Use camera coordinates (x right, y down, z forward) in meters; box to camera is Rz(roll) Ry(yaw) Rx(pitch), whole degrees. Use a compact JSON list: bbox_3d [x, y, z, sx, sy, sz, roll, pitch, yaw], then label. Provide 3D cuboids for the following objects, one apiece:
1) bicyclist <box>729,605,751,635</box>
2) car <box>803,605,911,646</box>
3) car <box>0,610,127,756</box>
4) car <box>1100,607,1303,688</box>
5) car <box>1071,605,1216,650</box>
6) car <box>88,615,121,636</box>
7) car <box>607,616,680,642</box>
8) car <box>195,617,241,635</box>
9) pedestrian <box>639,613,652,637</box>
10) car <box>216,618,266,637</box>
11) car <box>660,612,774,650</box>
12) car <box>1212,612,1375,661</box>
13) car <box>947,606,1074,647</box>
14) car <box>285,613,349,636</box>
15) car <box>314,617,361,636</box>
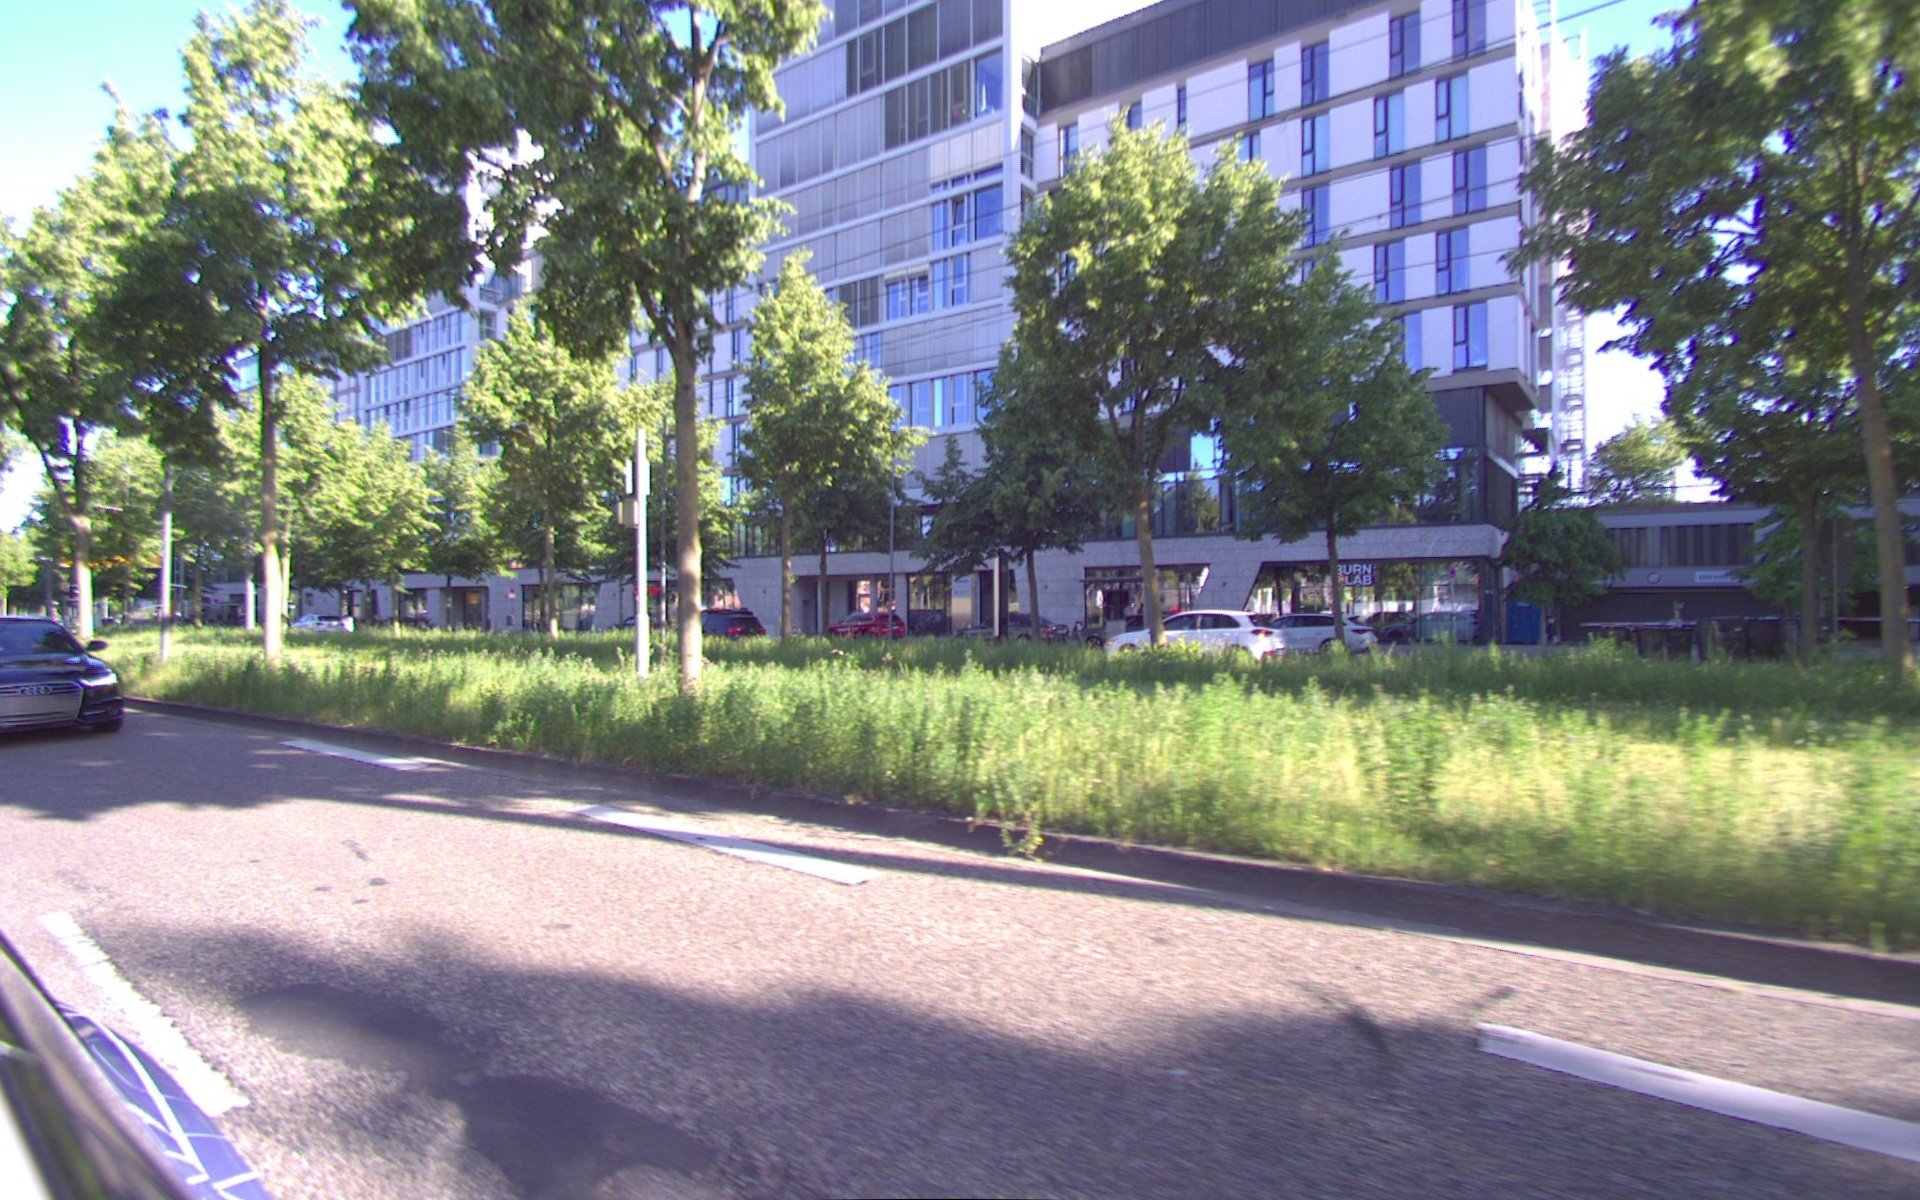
[{"bbox_3d":[-10.915,0.977,50.214,0.831,1.474,0.713,-1,-1,38],"label":"bicyclist"},{"bbox_3d":[-4.890,1.199,47.676,5.116,1.790,1.782,-2,0,35],"label":"car"},{"bbox_3d":[-11.932,0.915,12.361,4.595,1.538,1.767,-1,0,38],"label":"car"},{"bbox_3d":[5.676,1.092,24.014,4.312,1.701,1.782,-2,0,36],"label":"car"},{"bbox_3d":[6.139,0.915,34.136,4.538,1.431,1.699,-1,-1,38],"label":"car"},{"bbox_3d":[-88.387,2.606,104.561,3.994,1.940,1.783,1,1,37],"label":"car"},{"bbox_3d":[-15.912,1.476,50.803,3.575,1.216,1.653,-2,-1,36],"label":"car"},{"bbox_3d":[-62.229,2.154,84.849,4.536,1.431,1.940,-1,-1,37],"label":"car"},{"bbox_3d":[-19.018,1.505,61.209,0.689,1.423,0.404,1,1,36],"label":"pedestrian"},{"bbox_3d":[-58.133,2.199,81.803,4.536,1.431,1.981,-1,0,37],"label":"car"},{"bbox_3d":[-8.630,1.082,35.808,3.992,1.273,1.781,-1,-1,36],"label":"car"},{"bbox_3d":[10.349,1.105,31.570,4.536,1.431,1.700,-1,-1,37],"label":"car"},{"bbox_3d":[1.843,0.958,37.721,4.536,1.431,1.700,-1,-1,37],"label":"car"},{"bbox_3d":[-38.294,1.461,60.243,4.301,1.302,1.782,-2,-2,36],"label":"car"},{"bbox_3d":[-44.079,1.850,71.651,3.459,1.244,1.635,1,1,36],"label":"car"}]
